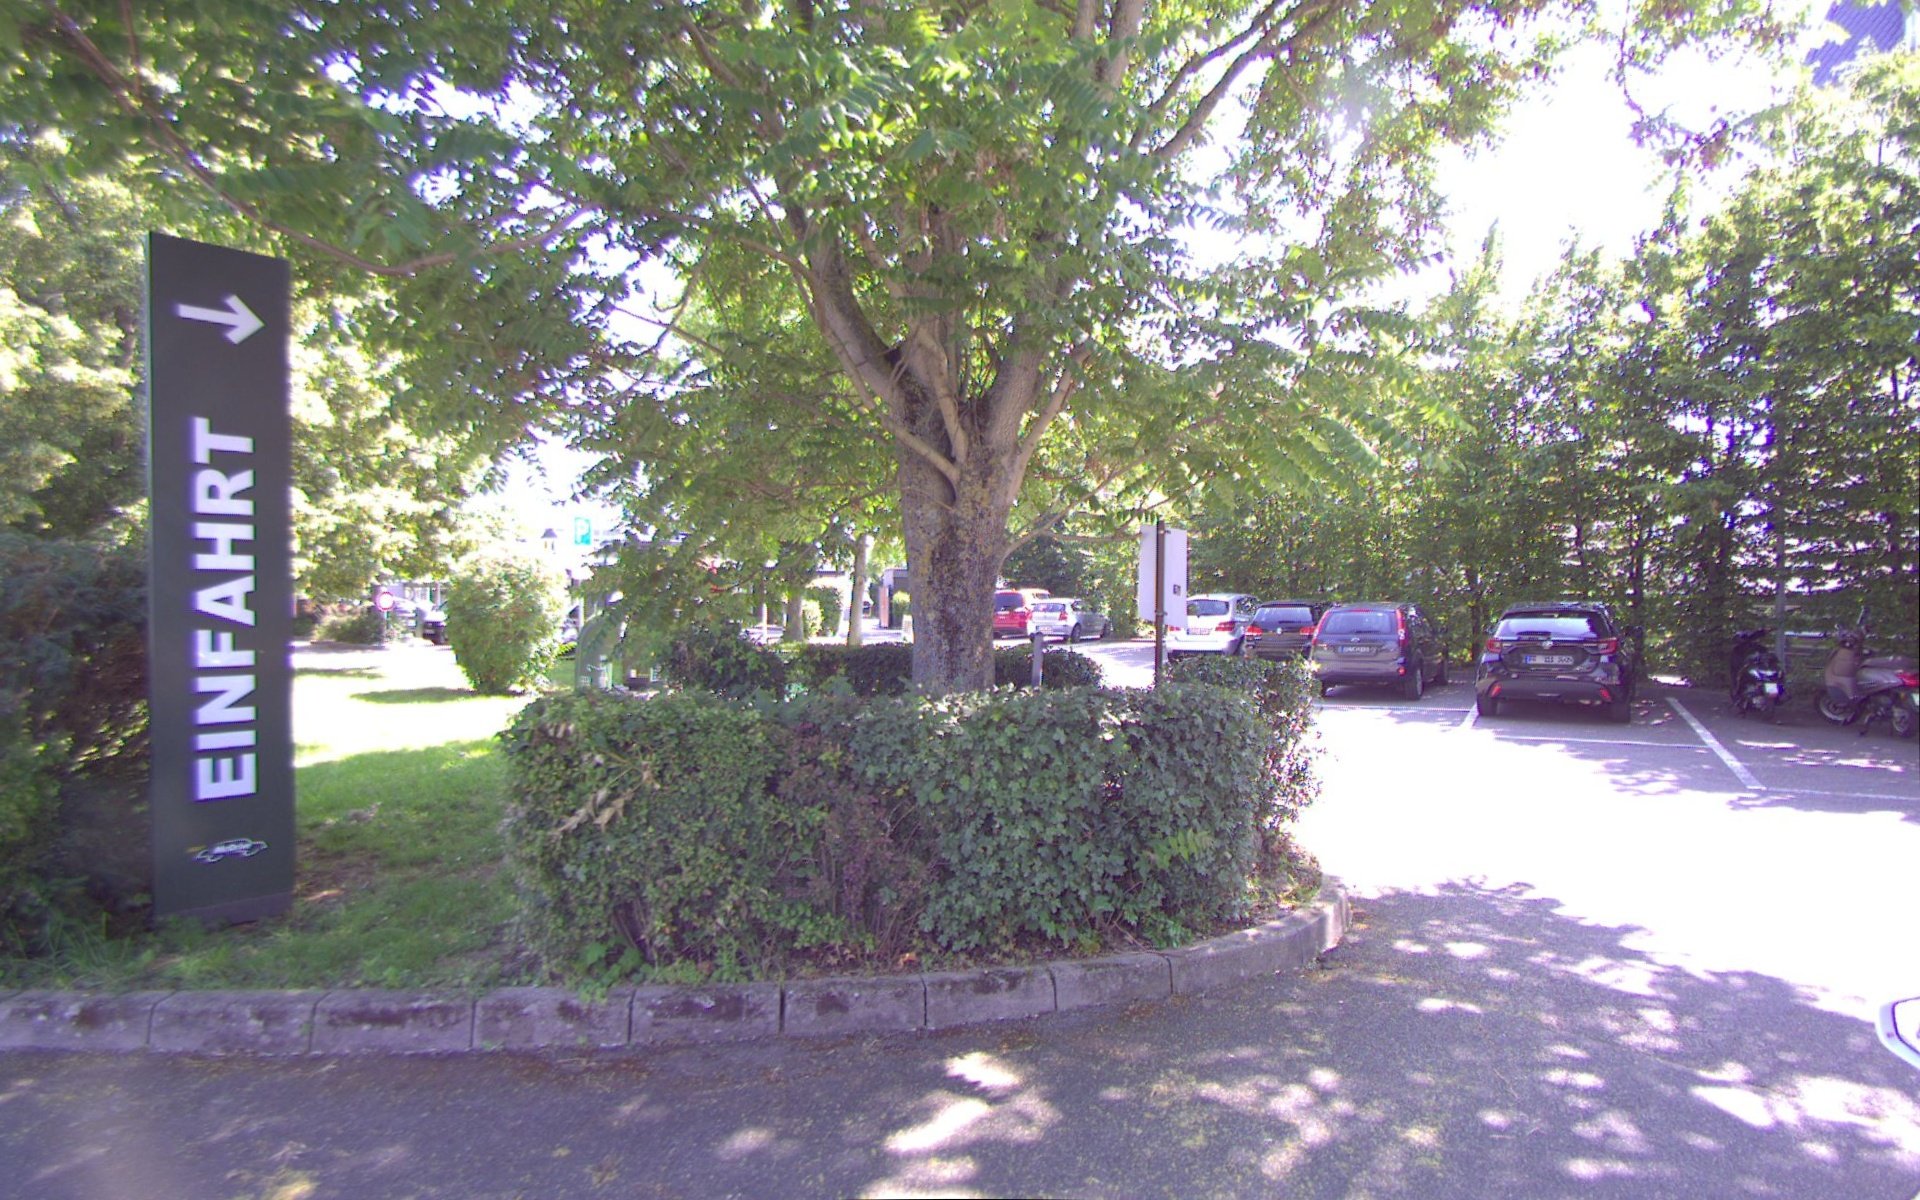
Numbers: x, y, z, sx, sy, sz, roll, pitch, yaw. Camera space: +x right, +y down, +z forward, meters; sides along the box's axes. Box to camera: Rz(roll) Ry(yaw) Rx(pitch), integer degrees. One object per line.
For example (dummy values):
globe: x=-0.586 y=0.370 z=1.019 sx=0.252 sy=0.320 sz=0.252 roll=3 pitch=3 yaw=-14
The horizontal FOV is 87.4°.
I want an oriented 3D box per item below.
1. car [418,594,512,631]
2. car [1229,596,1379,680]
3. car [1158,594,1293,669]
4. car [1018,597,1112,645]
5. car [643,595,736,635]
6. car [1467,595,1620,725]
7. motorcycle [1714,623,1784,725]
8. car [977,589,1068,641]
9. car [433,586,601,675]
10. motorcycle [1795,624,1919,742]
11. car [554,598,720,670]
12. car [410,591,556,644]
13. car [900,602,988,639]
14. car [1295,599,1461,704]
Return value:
car: x=-22.120 y=0.528 z=44.850 sx=4.070 sy=1.573 sz=1.916 roll=0 pitch=0 yaw=32
car: x=7.249 y=0.713 z=20.947 sx=1.747 sy=1.489 sz=3.983 roll=-1 pitch=1 yaw=38
car: x=6.368 y=0.676 z=23.825 sx=1.746 sy=1.593 sz=3.985 roll=-1 pitch=1 yaw=37
car: x=3.633 y=0.675 z=34.211 sx=1.742 sy=1.495 sz=3.993 roll=-1 pitch=0 yaw=29
car: x=-12.764 y=0.673 z=47.316 sx=4.293 sy=1.709 sz=1.857 roll=0 pitch=2 yaw=34
car: x=8.301 y=0.725 z=14.155 sx=1.633 sy=1.489 sz=3.893 roll=-1 pitch=1 yaw=33
motorcycle: x=9.886 y=0.887 z=12.626 sx=0.466 sy=1.156 sz=1.602 roll=0 pitch=0 yaw=30
car: x=2.386 y=0.516 z=37.503 sx=1.743 sy=1.757 sz=3.991 roll=-2 pitch=0 yaw=30
car: x=-9.529 y=0.606 z=21.453 sx=1.850 sy=1.708 sz=4.309 roll=3 pitch=-2 yaw=-44
motorcycle: x=10.021 y=0.881 z=11.210 sx=0.559 sy=1.184 sz=1.605 roll=-1 pitch=0 yaw=20
car: x=-7.432 y=0.735 z=22.876 sx=1.850 sy=1.472 sz=4.309 roll=3 pitch=-2 yaw=-44
car: x=-16.481 y=0.573 z=34.937 sx=1.829 sy=1.708 sz=4.303 roll=1 pitch=0 yaw=31
car: x=-0.601 y=0.811 z=41.069 sx=1.743 sy=1.407 sz=3.991 roll=-1 pitch=-1 yaw=31
car: x=7.087 y=0.762 z=16.799 sx=1.677 sy=1.473 sz=3.985 roll=-1 pitch=1 yaw=36
